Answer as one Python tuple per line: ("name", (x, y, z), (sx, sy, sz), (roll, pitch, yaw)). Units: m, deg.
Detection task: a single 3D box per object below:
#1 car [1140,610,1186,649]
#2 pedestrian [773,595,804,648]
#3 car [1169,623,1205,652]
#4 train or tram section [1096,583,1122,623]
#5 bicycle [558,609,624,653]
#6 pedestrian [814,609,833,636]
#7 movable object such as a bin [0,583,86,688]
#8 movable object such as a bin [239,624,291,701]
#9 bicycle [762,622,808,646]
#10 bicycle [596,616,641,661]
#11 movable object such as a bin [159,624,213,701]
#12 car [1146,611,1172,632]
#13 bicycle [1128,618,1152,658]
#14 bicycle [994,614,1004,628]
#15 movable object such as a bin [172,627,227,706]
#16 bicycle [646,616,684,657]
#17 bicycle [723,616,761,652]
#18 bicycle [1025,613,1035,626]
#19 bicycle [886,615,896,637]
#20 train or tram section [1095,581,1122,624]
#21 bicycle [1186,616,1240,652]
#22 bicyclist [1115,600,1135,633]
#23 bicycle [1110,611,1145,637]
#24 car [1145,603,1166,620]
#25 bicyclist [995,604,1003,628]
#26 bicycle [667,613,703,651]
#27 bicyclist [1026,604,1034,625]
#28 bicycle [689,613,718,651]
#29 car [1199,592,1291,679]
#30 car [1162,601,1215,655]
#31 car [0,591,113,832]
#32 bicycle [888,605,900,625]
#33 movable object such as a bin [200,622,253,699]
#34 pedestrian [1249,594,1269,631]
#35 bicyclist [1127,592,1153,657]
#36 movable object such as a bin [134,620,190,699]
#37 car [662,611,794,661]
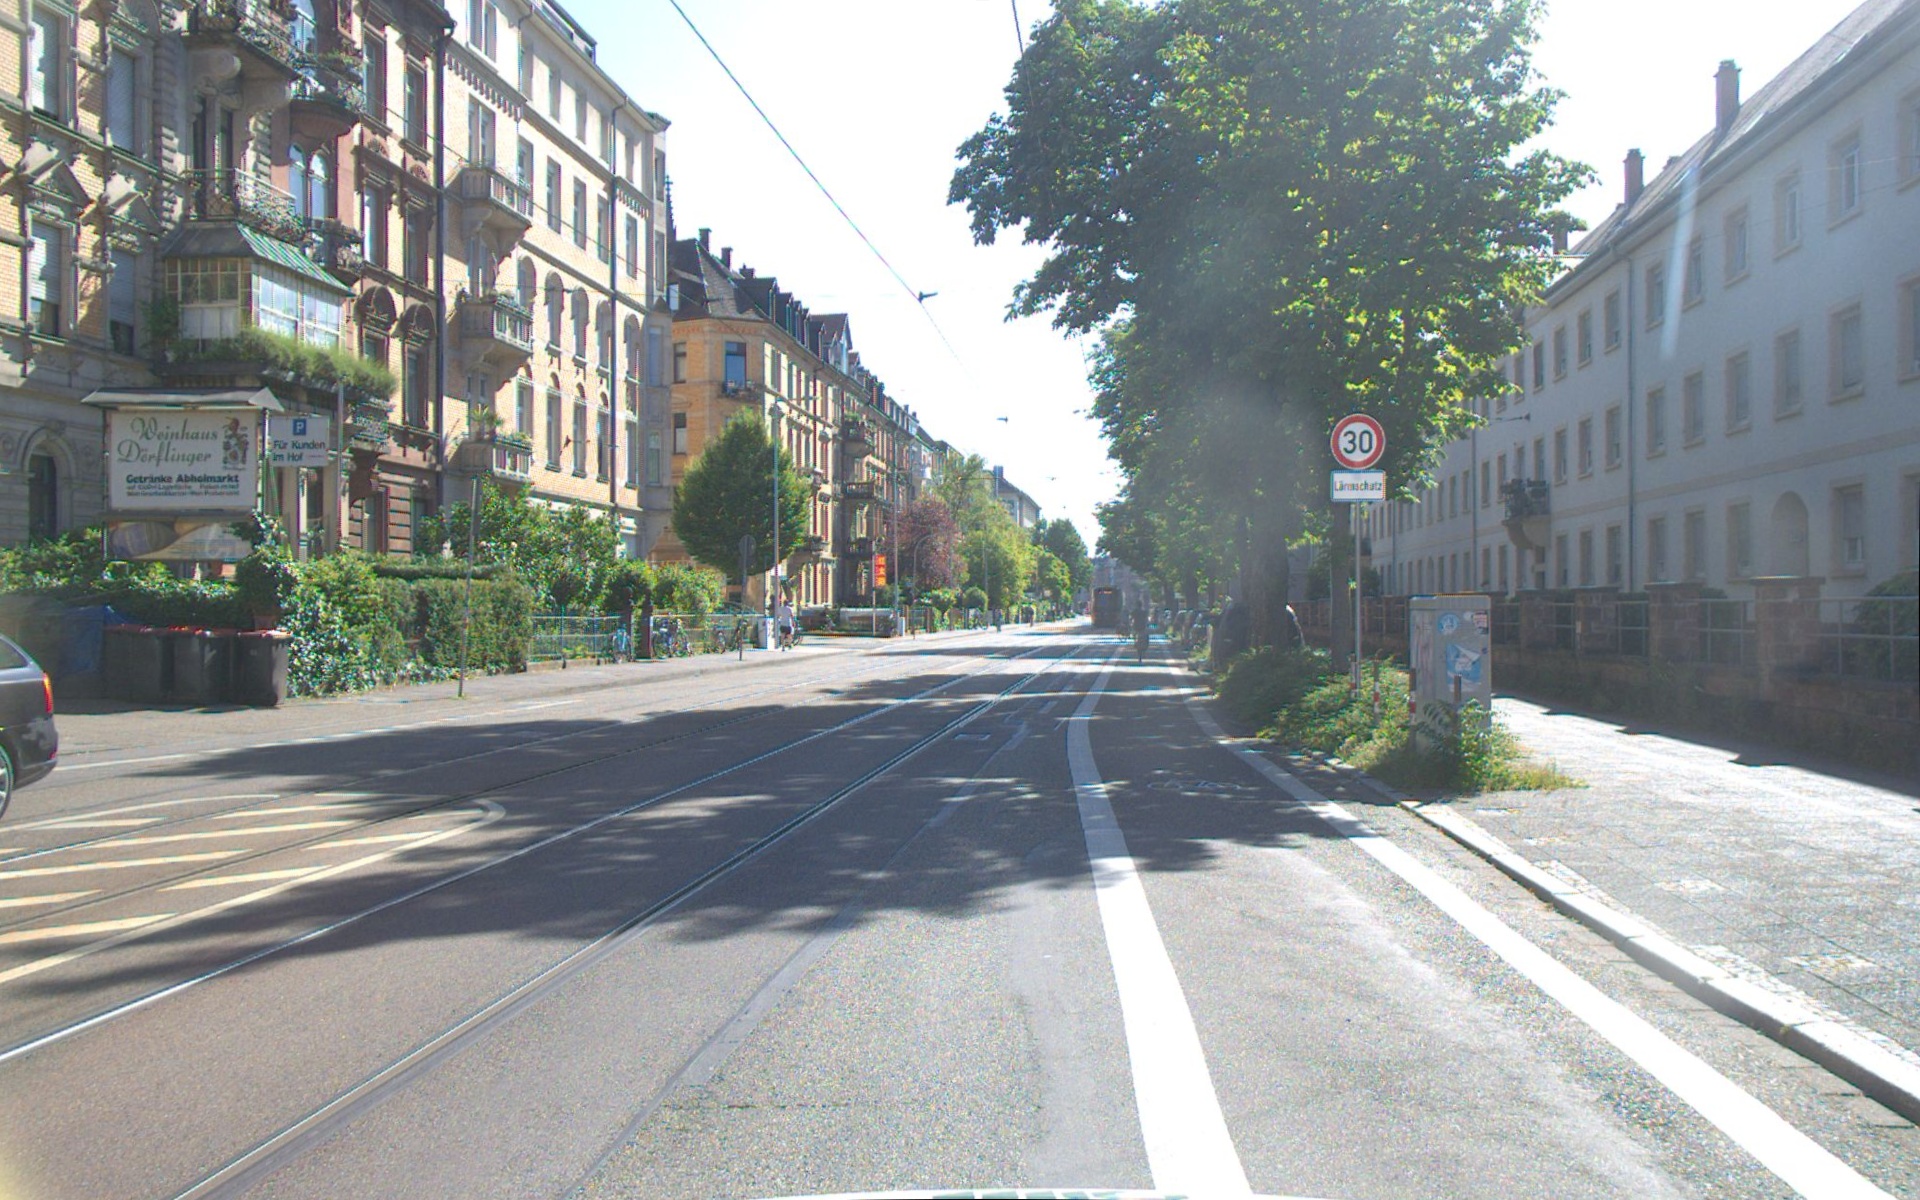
("car", (8.232, 1.183, 67.222), (1.683, 1.499, 4.248), (-1, 0, 5))
("pedestrian", (-5.823, 0.733, 56.211), (0.812, 1.754, 1.083), (2, -1, 6))
("car", (12.055, 1.977, 88.039), (1.749, 1.490, 4.047), (0, 0, 6))
("train or tram section", (13.406, 0.289, 148.113), (2.108, 3.492, 6.615), (2, 0, 6))
("bicycle", (-9.610, 0.800, 43.066), (1.541, 1.051, 0.480), (4, 0, 6))
("pedestrian", (-7.257, 1.205, 87.757), (0.882, 1.376, 0.577), (-2, -1, 8))
("movable object such as a bin", (-13.699, 0.495, 24.015), (1.291, 1.472, 1.171), (2, 0, 8))
("movable object such as a bin", (-10.290, 0.919, 24.487), (0.469, 1.105, 0.541), (2, 0, 8))
("bicycle", (-7.059, 1.373, 66.865), (1.763, 0.930, 0.615), (2, -2, -30))
("bicycle", (-8.623, 0.964, 41.789), (0.551, 1.051, 1.769), (2, 1, 7))
("movable object such as a bin", (-11.495, 0.921, 24.577), (0.469, 1.105, 0.541), (2, 0, 8))
("car", (14.728, 1.571, 122.579), (1.594, 1.461, 4.667), (0, 0, 3))
("bicycle", (5.335, 1.124, 49.039), (0.677, 1.132, 1.720), (2, 0, 6))
("bicycle", (2.686, 1.458, 114.177), (0.450, 0.942, 2.204), (-1, -1, 6))
("movable object such as a bin", (-10.975, 0.955, 23.879), (0.469, 1.105, 0.541), (2, 0, 8))
("bicycle", (-8.114, 0.995, 45.574), (0.551, 1.051, 1.769), (2, 0, 6))
("bicycle", (-6.982, 1.078, 52.889), (0.557, 1.051, 1.750), (1, 1, -30))
("bicycle", (6.138, 1.716, 145.099), (0.677, 1.132, 1.720), (-1, -1, 6))
("bicycle", (-3.604, 1.377, 86.812), (0.363, 1.146, 0.809), (2, 0, 6))
("train or tram section", (12.724, 0.236, 141.503), (2.108, 3.492, 6.615), (2, 0, 6))
("bicycle", (8.252, 1.108, 54.025), (1.724, 1.096, 0.434), (2, 0, 7))
("bicyclist", (7.414, 0.740, 74.183), (0.625, 1.494, 0.613), (1, -1, 38))
("bicycle", (7.547, 1.070, 74.350), (0.680, 1.132, 1.909), (1, 0, 37))
("car", (16.790, 1.016, 142.247), (1.711, 1.445, 4.002), (-1, 0, 6))
("bicyclist", (2.681, 1.091, 114.249), (0.454, 1.647, 0.745), (-2, -1, 6))
("bicycle", (-7.902, 0.906, 47.645), (0.551, 1.051, 1.769), (2, 0, 6))
("bicyclist", (6.136, 1.305, 145.116), (0.646, 1.833, 0.616), (-2, -1, 6))
("bicycle", (-7.890, 0.982, 50.835), (0.554, 1.051, 1.759), (5, 0, -18))
("car", (6.398, 0.767, 37.507), (1.707, 1.797, 4.480), (2, 0, 6))
("car", (7.903, 0.939, 57.503), (1.630, 1.792, 4.234), (0, 0, 5))
("car", (-7.280, 0.690, 9.483), (1.793, 1.544, 4.970), (3, 0, 7))
("bicycle", (-3.520, 0.798, 87.750), (0.328, 1.018, 1.871), (2, 0, 6))
("movable object such as a bin", (-10.857, 0.889, 24.483), (0.469, 1.105, 0.541), (2, 0, 8))
("pedestrian", (14.637, 0.605, 80.849), (0.750, 1.754, 0.577), (1, -1, 36))
("bicyclist", (5.328, 0.716, 48.983), (0.712, 1.880, 0.837), (2, 0, 6))
("movable object such as a bin", (-11.551, 0.853, 23.953), (0.469, 1.105, 0.541), (2, 0, 8))
("car", (-8.529, 1.326, 60.968), (4.351, 1.672, 1.968), (2, -1, 9))
